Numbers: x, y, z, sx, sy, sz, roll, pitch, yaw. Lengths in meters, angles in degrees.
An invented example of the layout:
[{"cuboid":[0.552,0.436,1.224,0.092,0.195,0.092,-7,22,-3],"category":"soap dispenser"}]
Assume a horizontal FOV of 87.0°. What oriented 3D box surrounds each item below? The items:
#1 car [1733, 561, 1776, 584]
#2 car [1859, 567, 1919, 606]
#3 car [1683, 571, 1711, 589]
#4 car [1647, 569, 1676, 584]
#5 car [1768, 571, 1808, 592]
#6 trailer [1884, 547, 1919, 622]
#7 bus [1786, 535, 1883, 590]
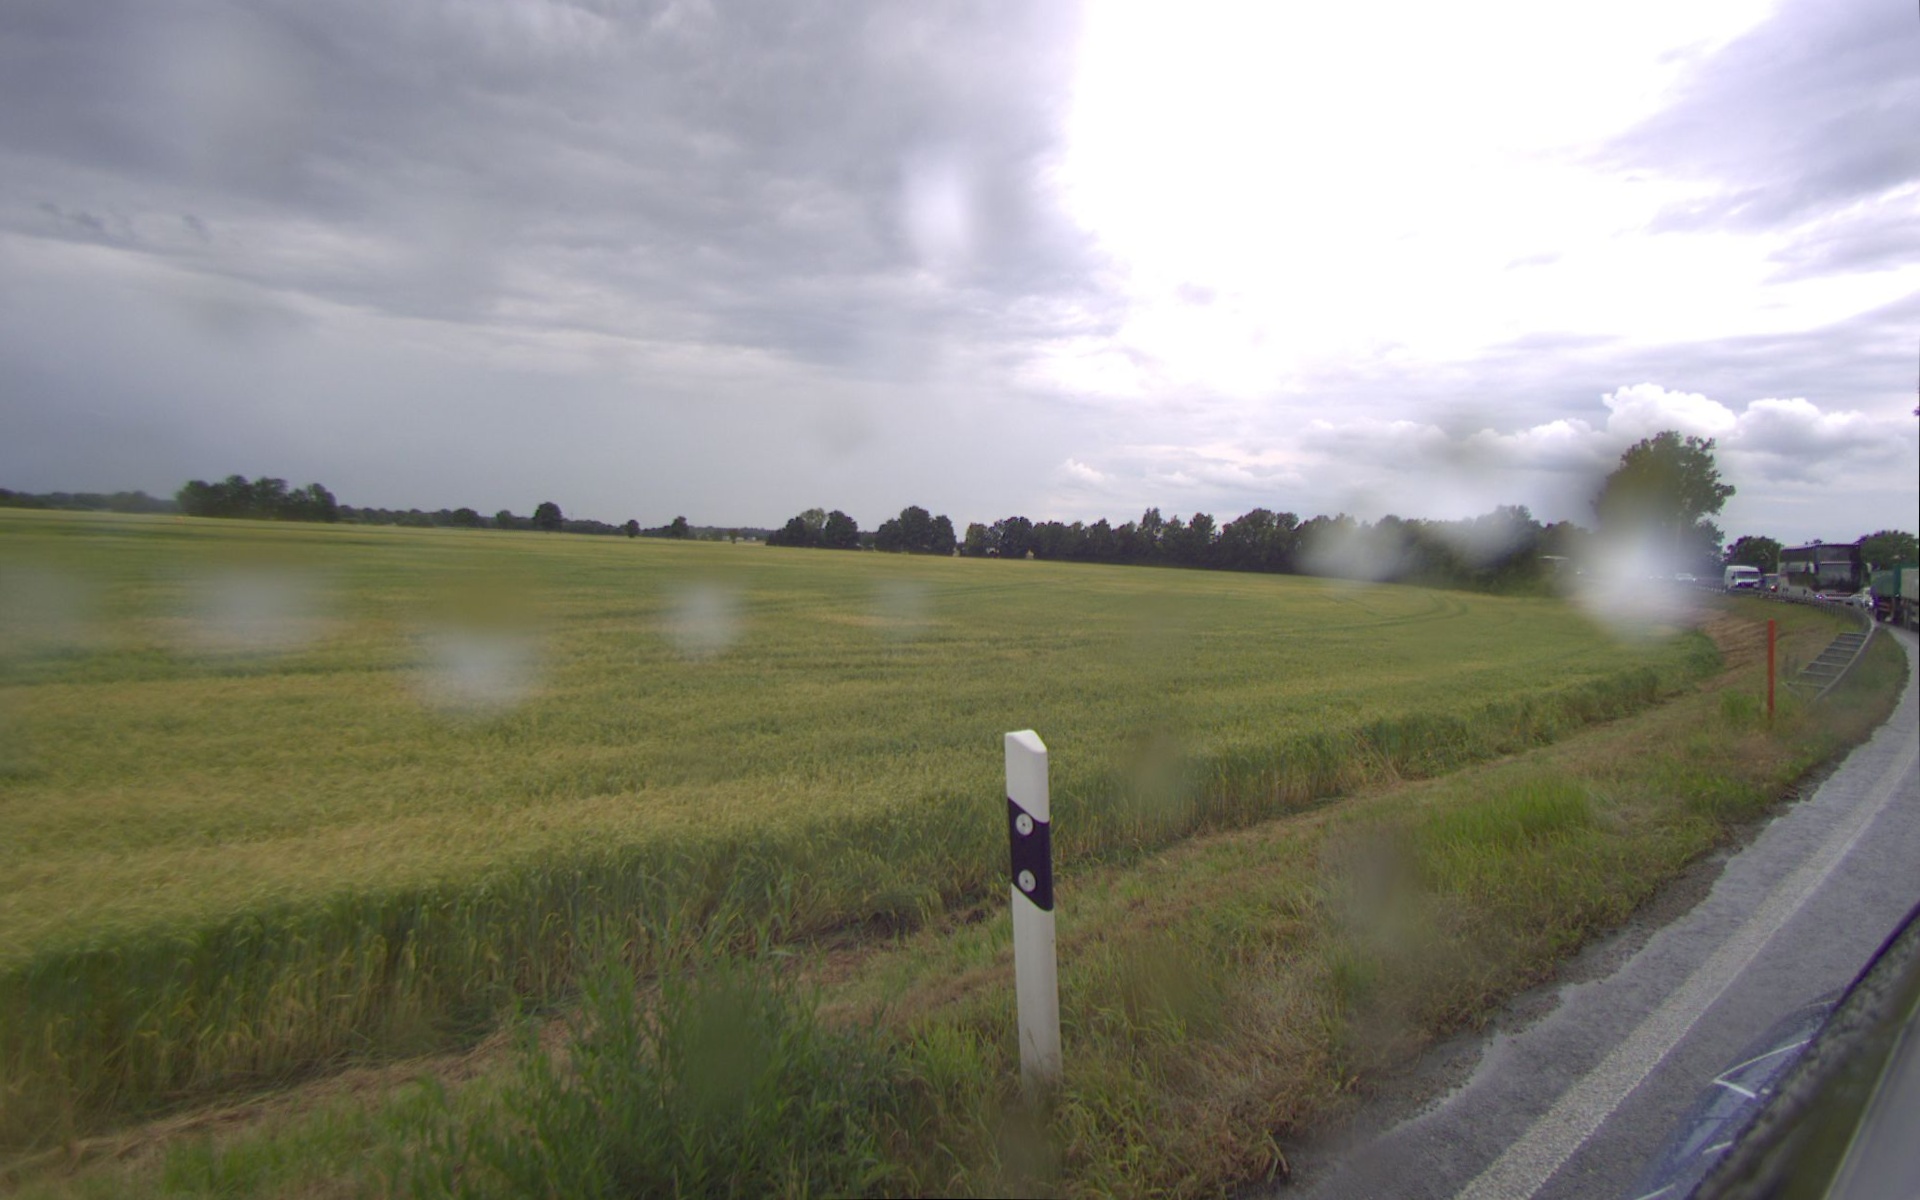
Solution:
[{"cuboid":[73.745,-2.530,93.959,1.979,2.038,5.290,0,1,25],"category":"car"},{"cuboid":[47.956,-0.732,51.990,2.030,1.865,5.270,0,2,35],"category":"car"},{"cuboid":[86.439,-2.316,118.700,1.980,2.038,4.194,0,1,26],"category":"car"},{"cuboid":[92.061,-3.098,132.928,1.974,2.038,4.241,0,1,18],"category":"car"},{"cuboid":[66.283,-1.503,81.109,1.799,1.597,3.959,0,2,29],"category":"car"},{"cuboid":[38.804,-0.675,39.466,2.970,2.665,15.466,0,2,38],"category":"trailer"},{"cuboid":[59.030,-2.613,68.701,2.944,3.353,14.667,0,2,33],"category":"bus"}]
